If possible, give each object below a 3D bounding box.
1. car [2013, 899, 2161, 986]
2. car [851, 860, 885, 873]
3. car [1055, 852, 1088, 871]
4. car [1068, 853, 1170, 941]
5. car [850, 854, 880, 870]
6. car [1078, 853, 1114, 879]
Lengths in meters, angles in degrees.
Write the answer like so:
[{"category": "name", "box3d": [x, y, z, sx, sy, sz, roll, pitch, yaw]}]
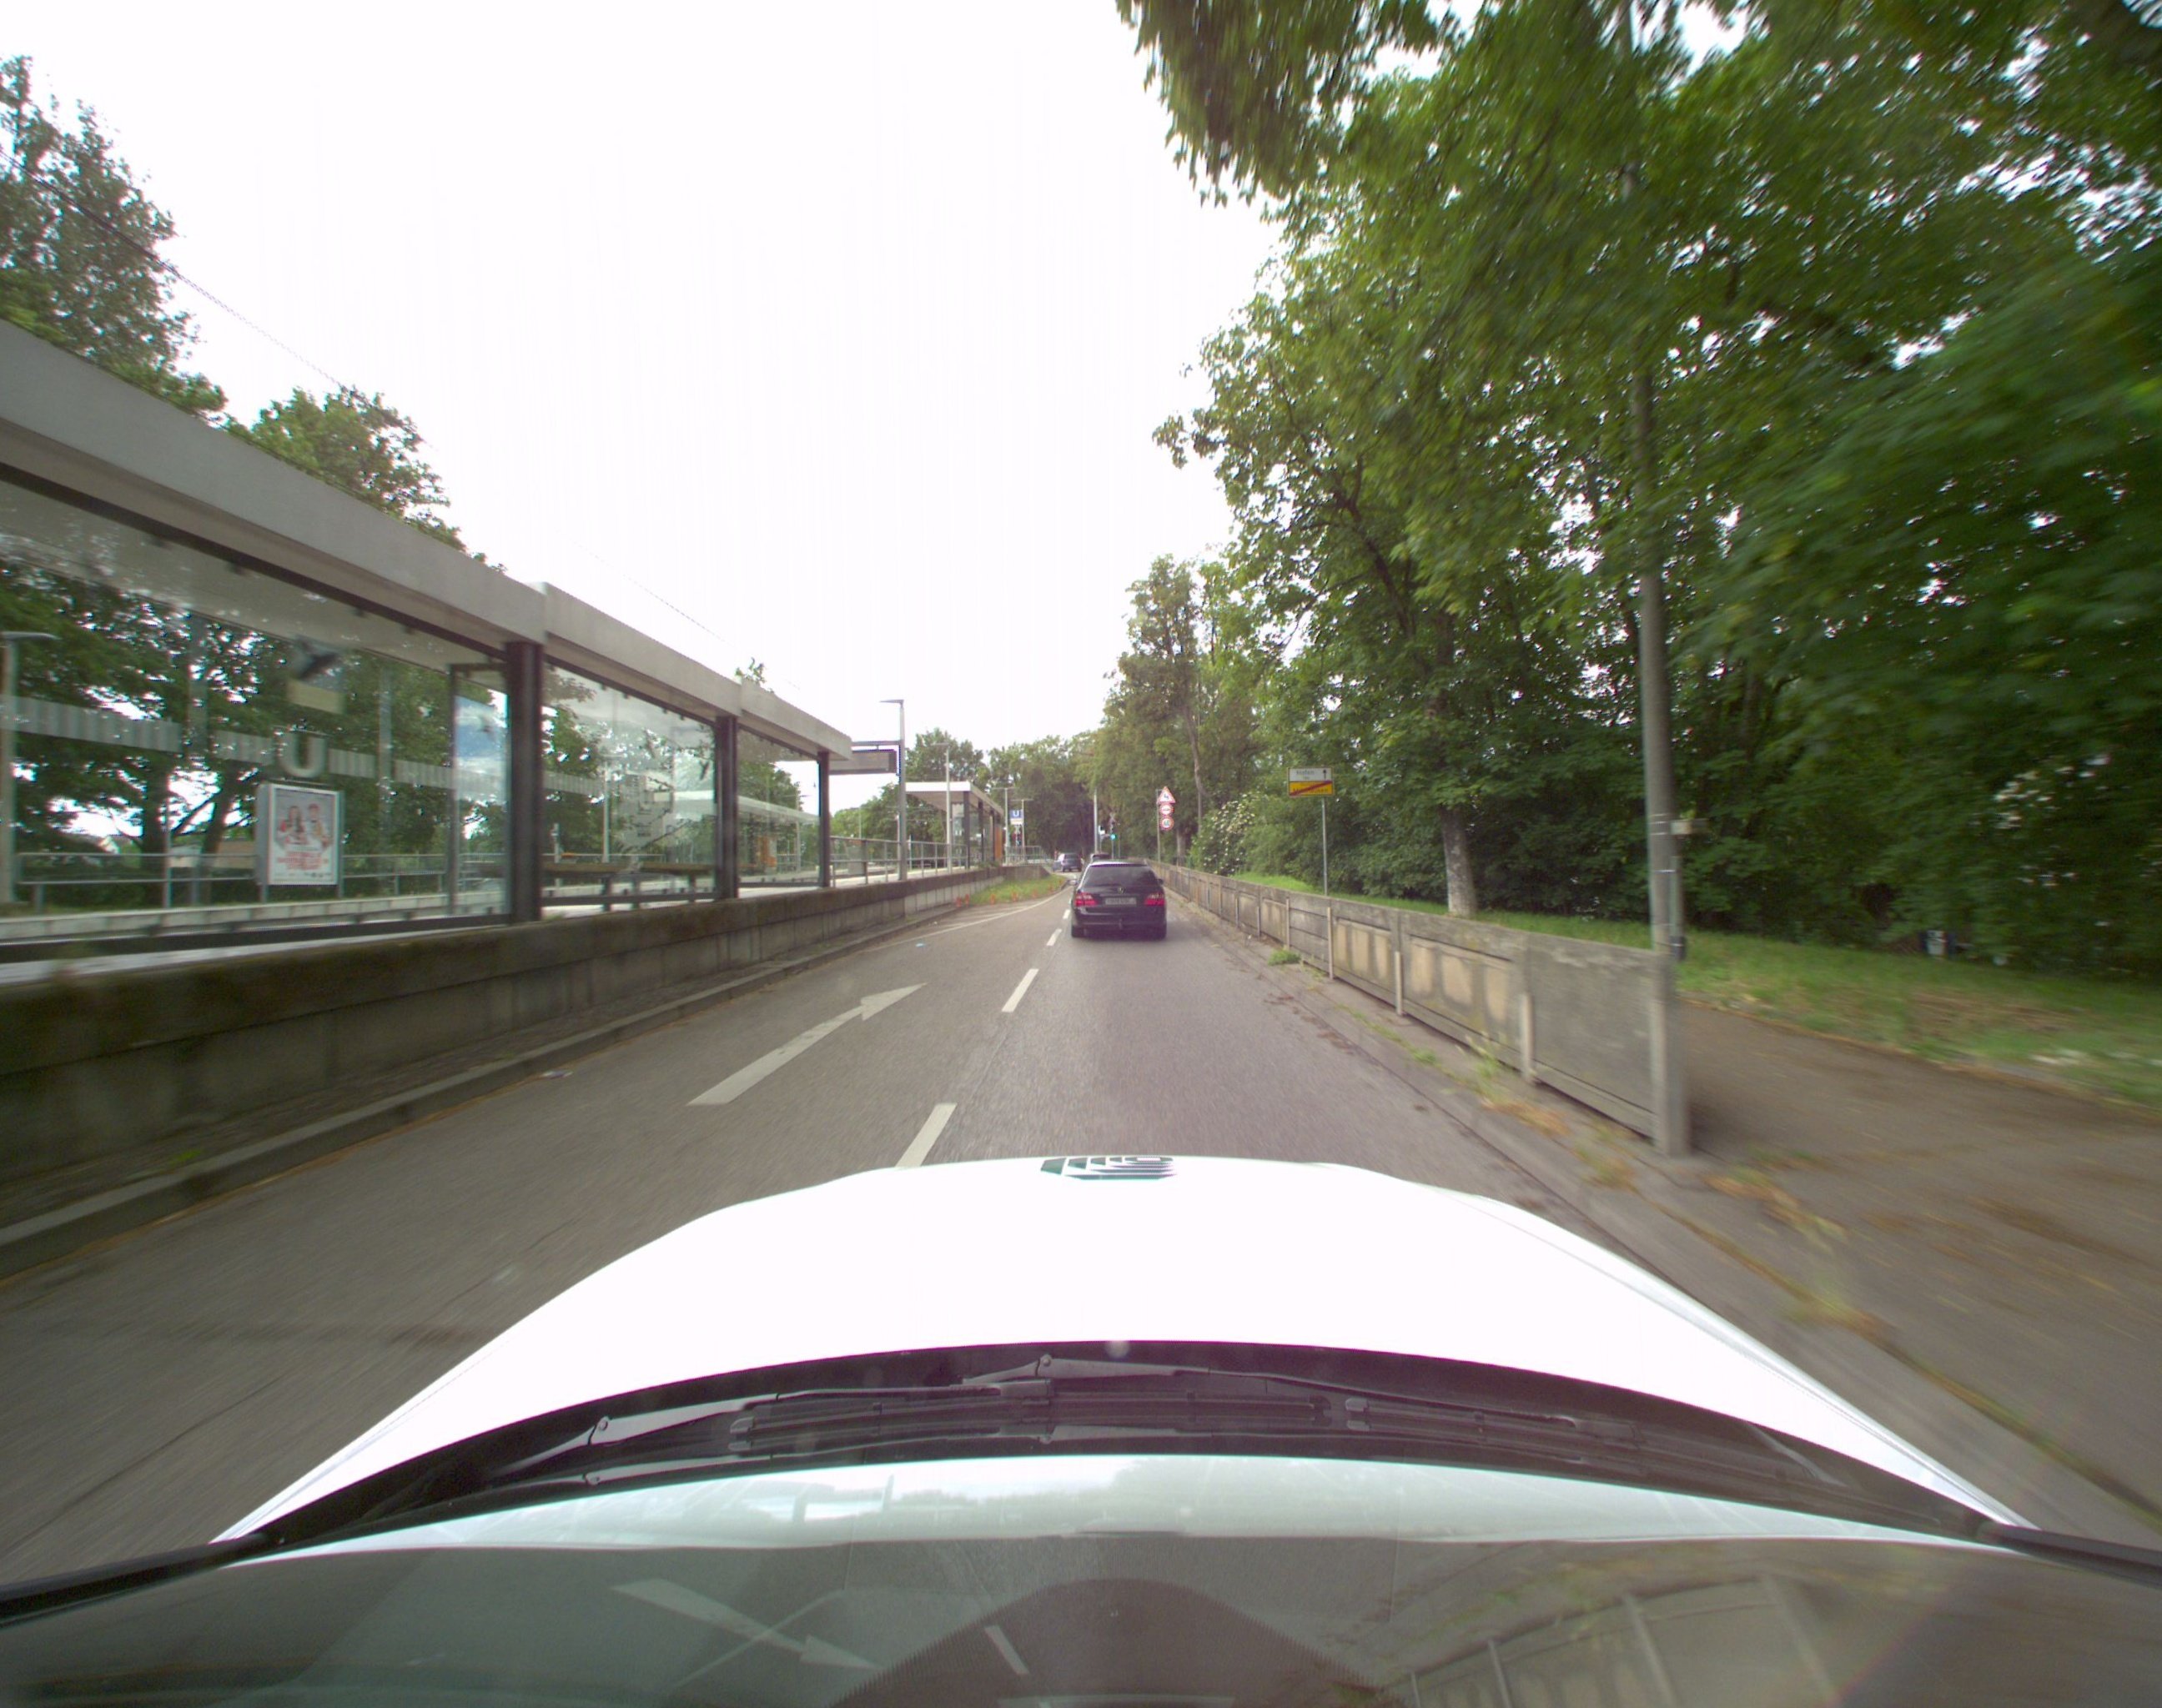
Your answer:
[{"category": "car", "box3d": [21.825, 1.780, 16.565, 3.521, 1.618, 1.748, 1, -2, 6]}, {"category": "car", "box3d": [-24.021, 1.440, 91.828, 3.950, 1.399, 2.012, -1, 0, 44]}, {"category": "car", "box3d": [-0.780, 0.578, 63.981, 1.994, 1.399, 3.986, -1, 0, -10]}, {"category": "car", "box3d": [0.734, 0.759, 16.318, 1.775, 1.525, 4.002, 0, 0, 2]}, {"category": "car", "box3d": [-24.495, 0.933, 92.288, 3.348, 1.706, 1.624, -1, -2, 42]}, {"category": "car", "box3d": [0.938, 0.801, 53.770, 1.780, 1.648, 3.989, -1, -1, -8]}]
